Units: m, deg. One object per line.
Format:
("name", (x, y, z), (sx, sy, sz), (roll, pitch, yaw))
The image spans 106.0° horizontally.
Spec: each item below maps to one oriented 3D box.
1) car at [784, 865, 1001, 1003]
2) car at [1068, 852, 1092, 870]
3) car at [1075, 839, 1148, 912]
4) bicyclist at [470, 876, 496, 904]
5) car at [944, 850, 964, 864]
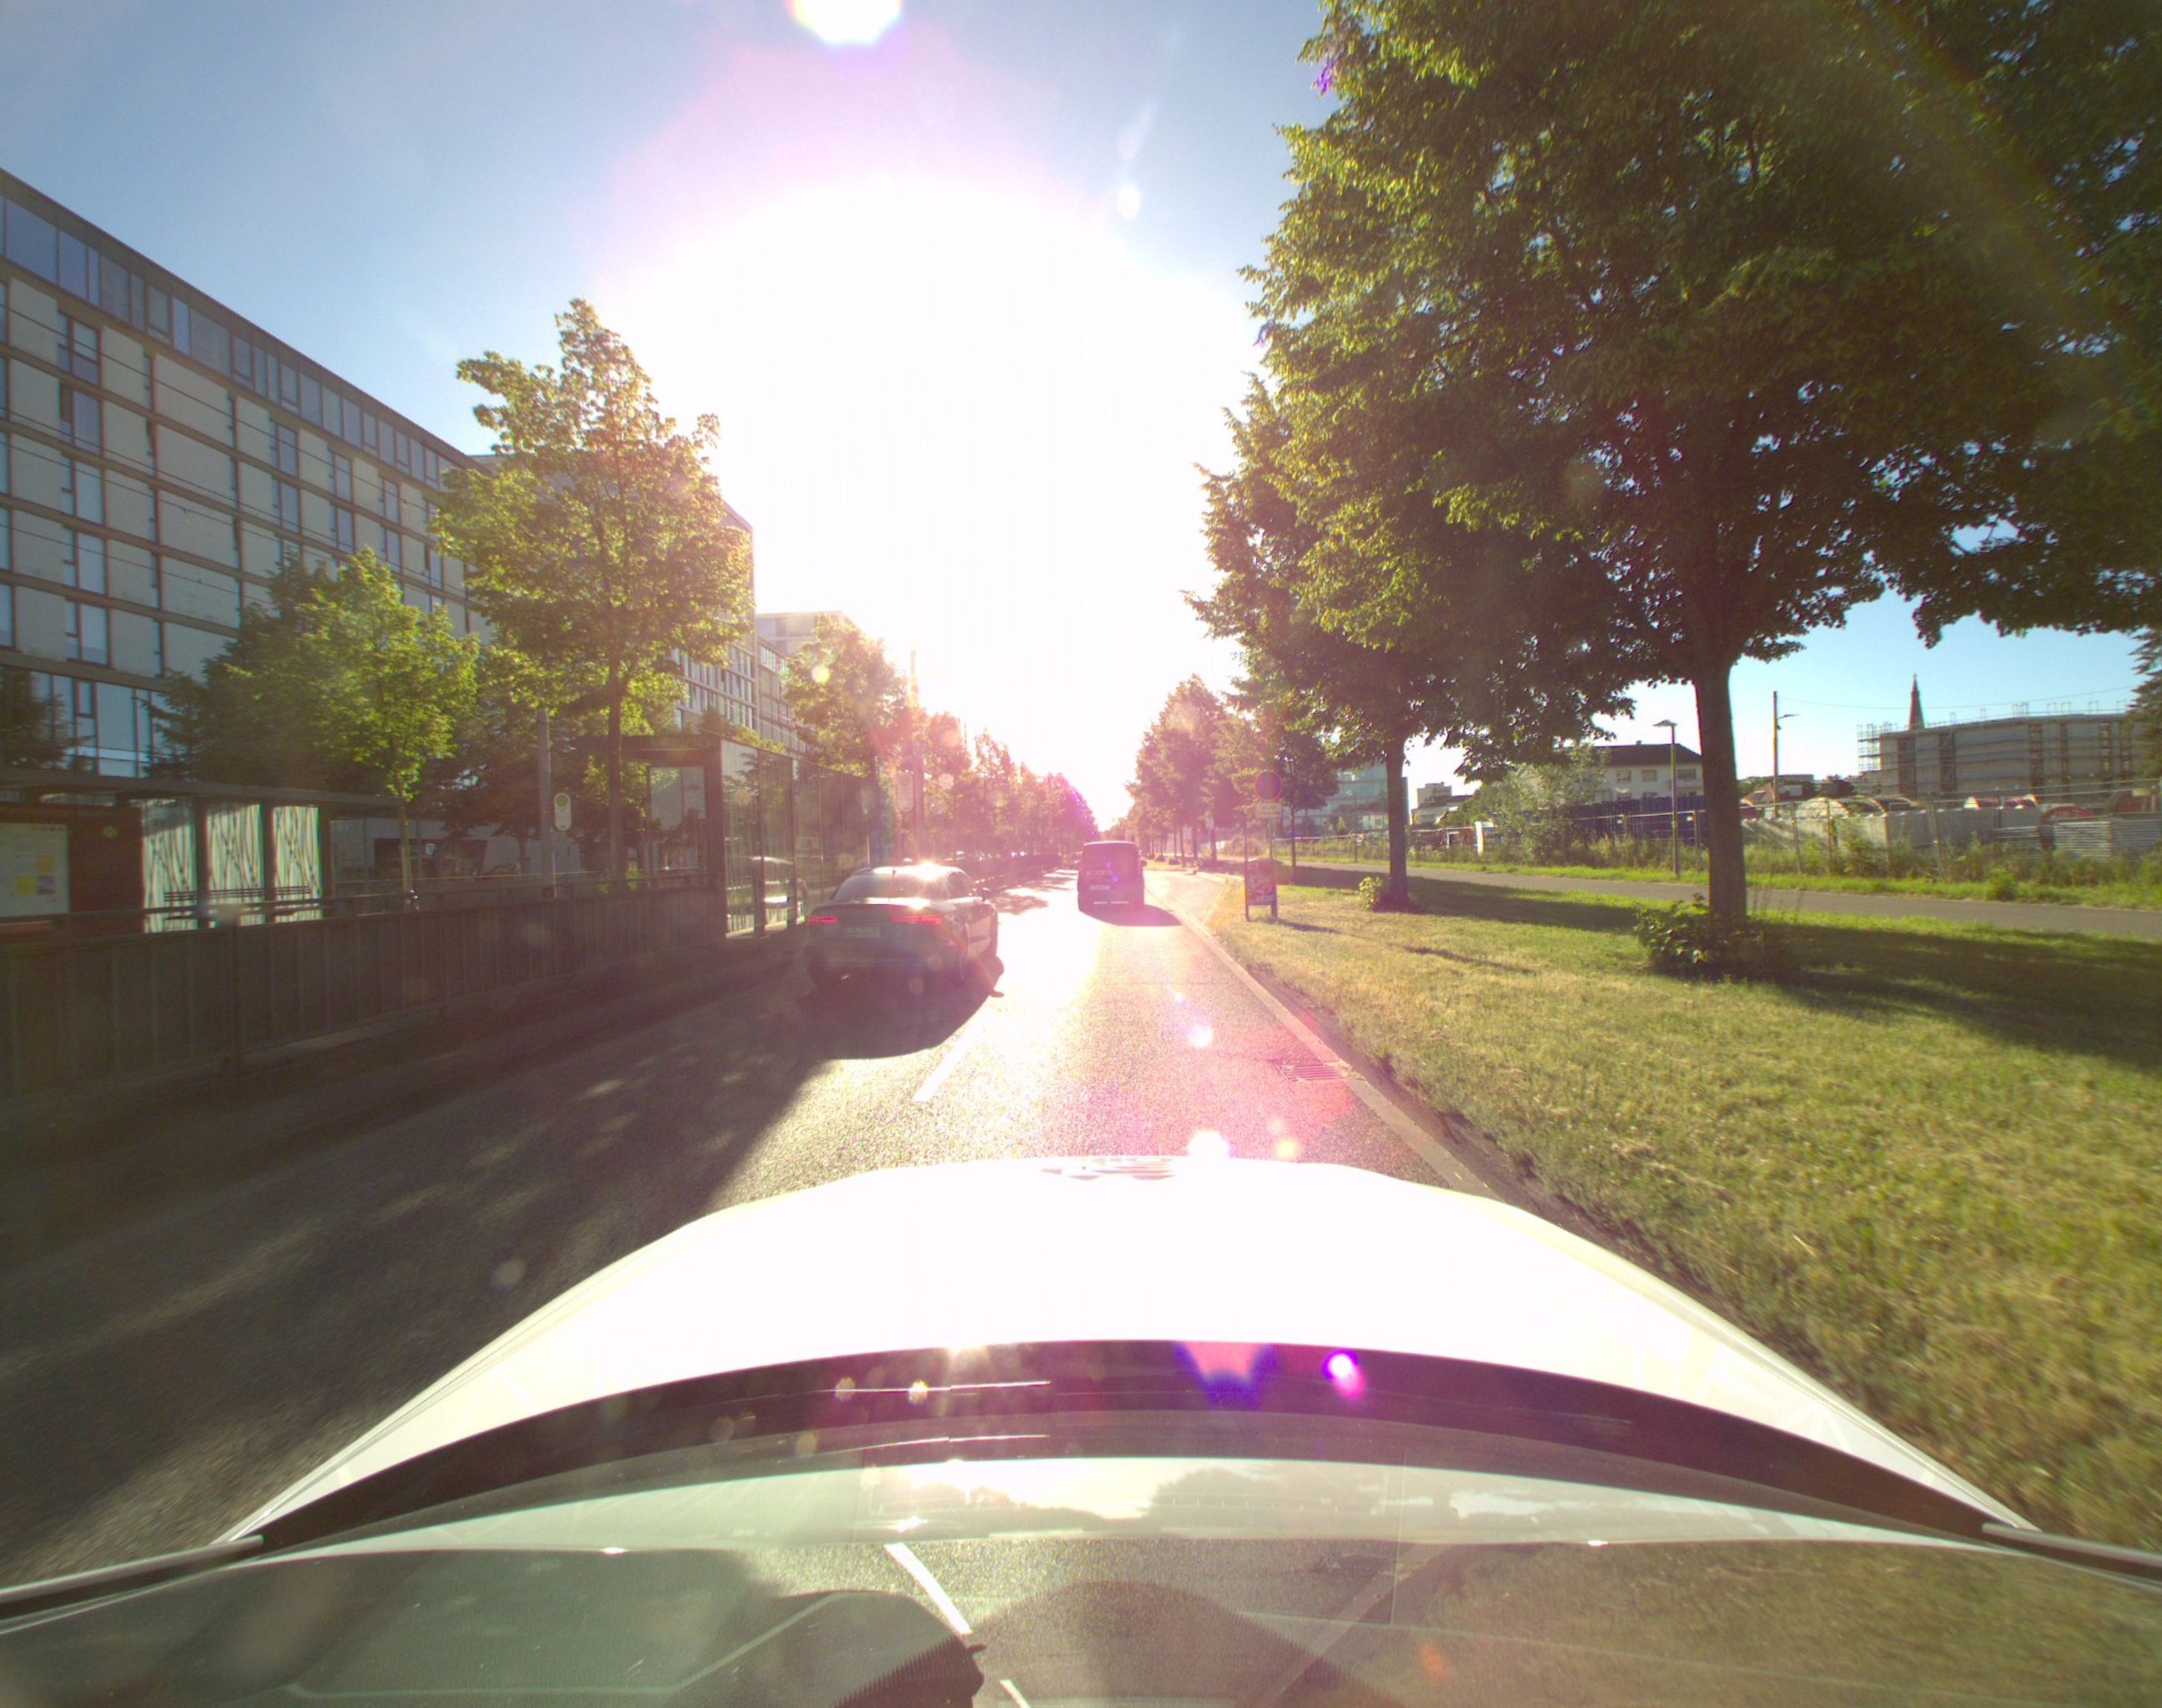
("car", (-2.180, 0.869, 10.605), (1.714, 1.366, 4.148), (-1, 0, 2))
("car", (-0.083, 0.559, 70.184), (1.936, 1.441, 3.999), (-2, 0, 0))
("car", (0.788, 0.514, 22.633), (1.792, 1.777, 4.000), (-2, 1, 0))
("bicyclist", (-32.354, 1.960, 44.059), (0.717, 1.463, 0.833), (-2, 0, 4))
("car", (-18.490, 0.453, 118.563), (1.986, 1.750, 4.229), (-3, -1, 2))
